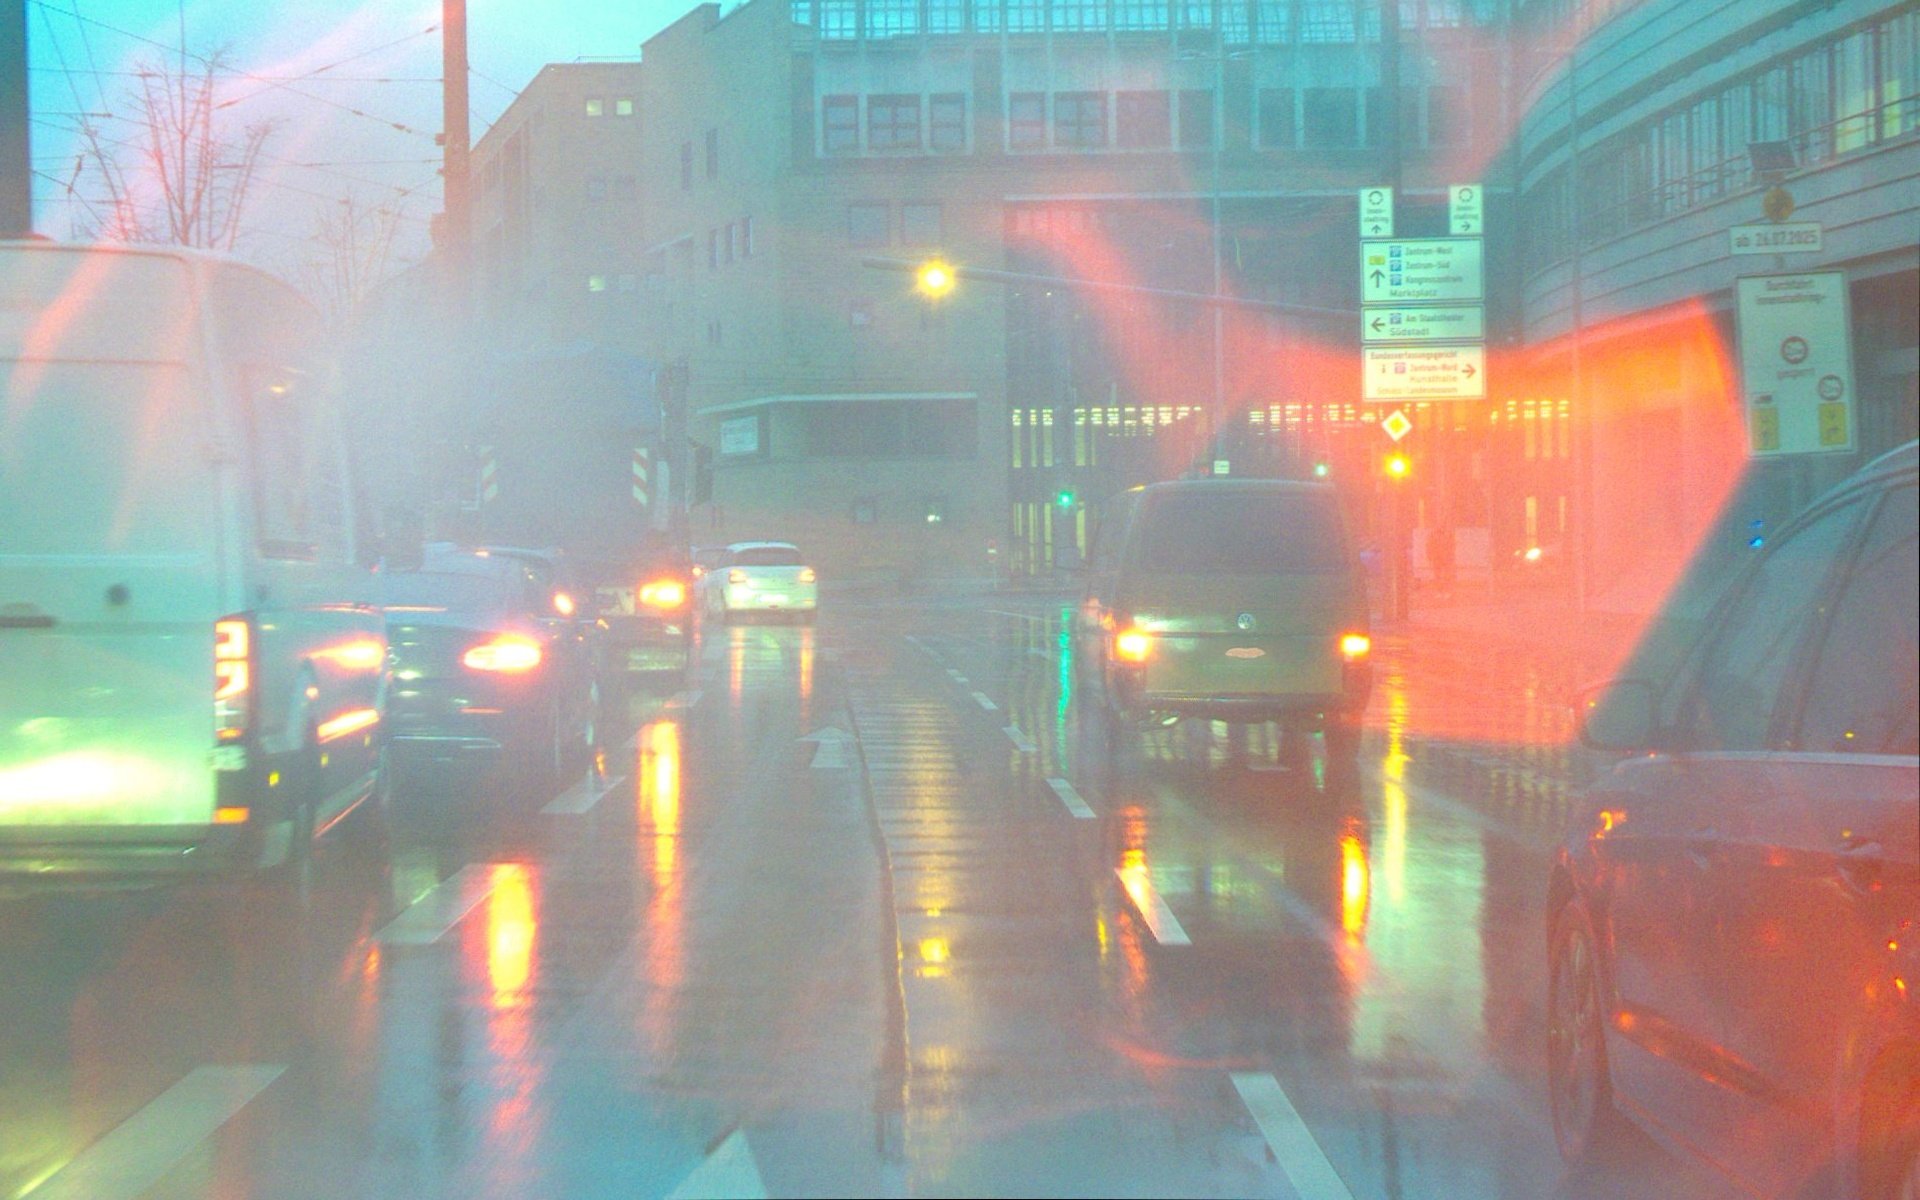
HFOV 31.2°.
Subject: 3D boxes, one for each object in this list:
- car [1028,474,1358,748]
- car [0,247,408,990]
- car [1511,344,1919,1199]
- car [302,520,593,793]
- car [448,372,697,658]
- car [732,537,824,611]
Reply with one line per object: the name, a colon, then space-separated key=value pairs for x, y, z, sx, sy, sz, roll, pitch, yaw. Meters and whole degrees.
car: x=1.594 y=0.028 z=25.061 sx=1.843 sy=1.800 sz=4.487 roll=-1 pitch=1 yaw=-3
car: x=-3.502 y=0.017 z=14.175 sx=1.993 sy=2.419 sz=5.975 roll=-1 pitch=1 yaw=-5
car: x=2.181 y=0.493 z=6.298 sx=1.674 sy=1.773 sz=4.000 roll=-1 pitch=1 yaw=0
car: x=-3.067 y=0.307 z=21.077 sx=1.517 sy=1.515 sz=3.471 roll=-1 pitch=0 yaw=-5
car: x=-4.078 y=-0.886 z=37.189 sx=2.354 sy=2.817 sz=6.360 roll=-1 pitch=1 yaw=-4
car: x=-3.310 y=-0.486 z=62.932 sx=1.511 sy=1.301 sz=3.041 roll=-1 pitch=1 yaw=0
